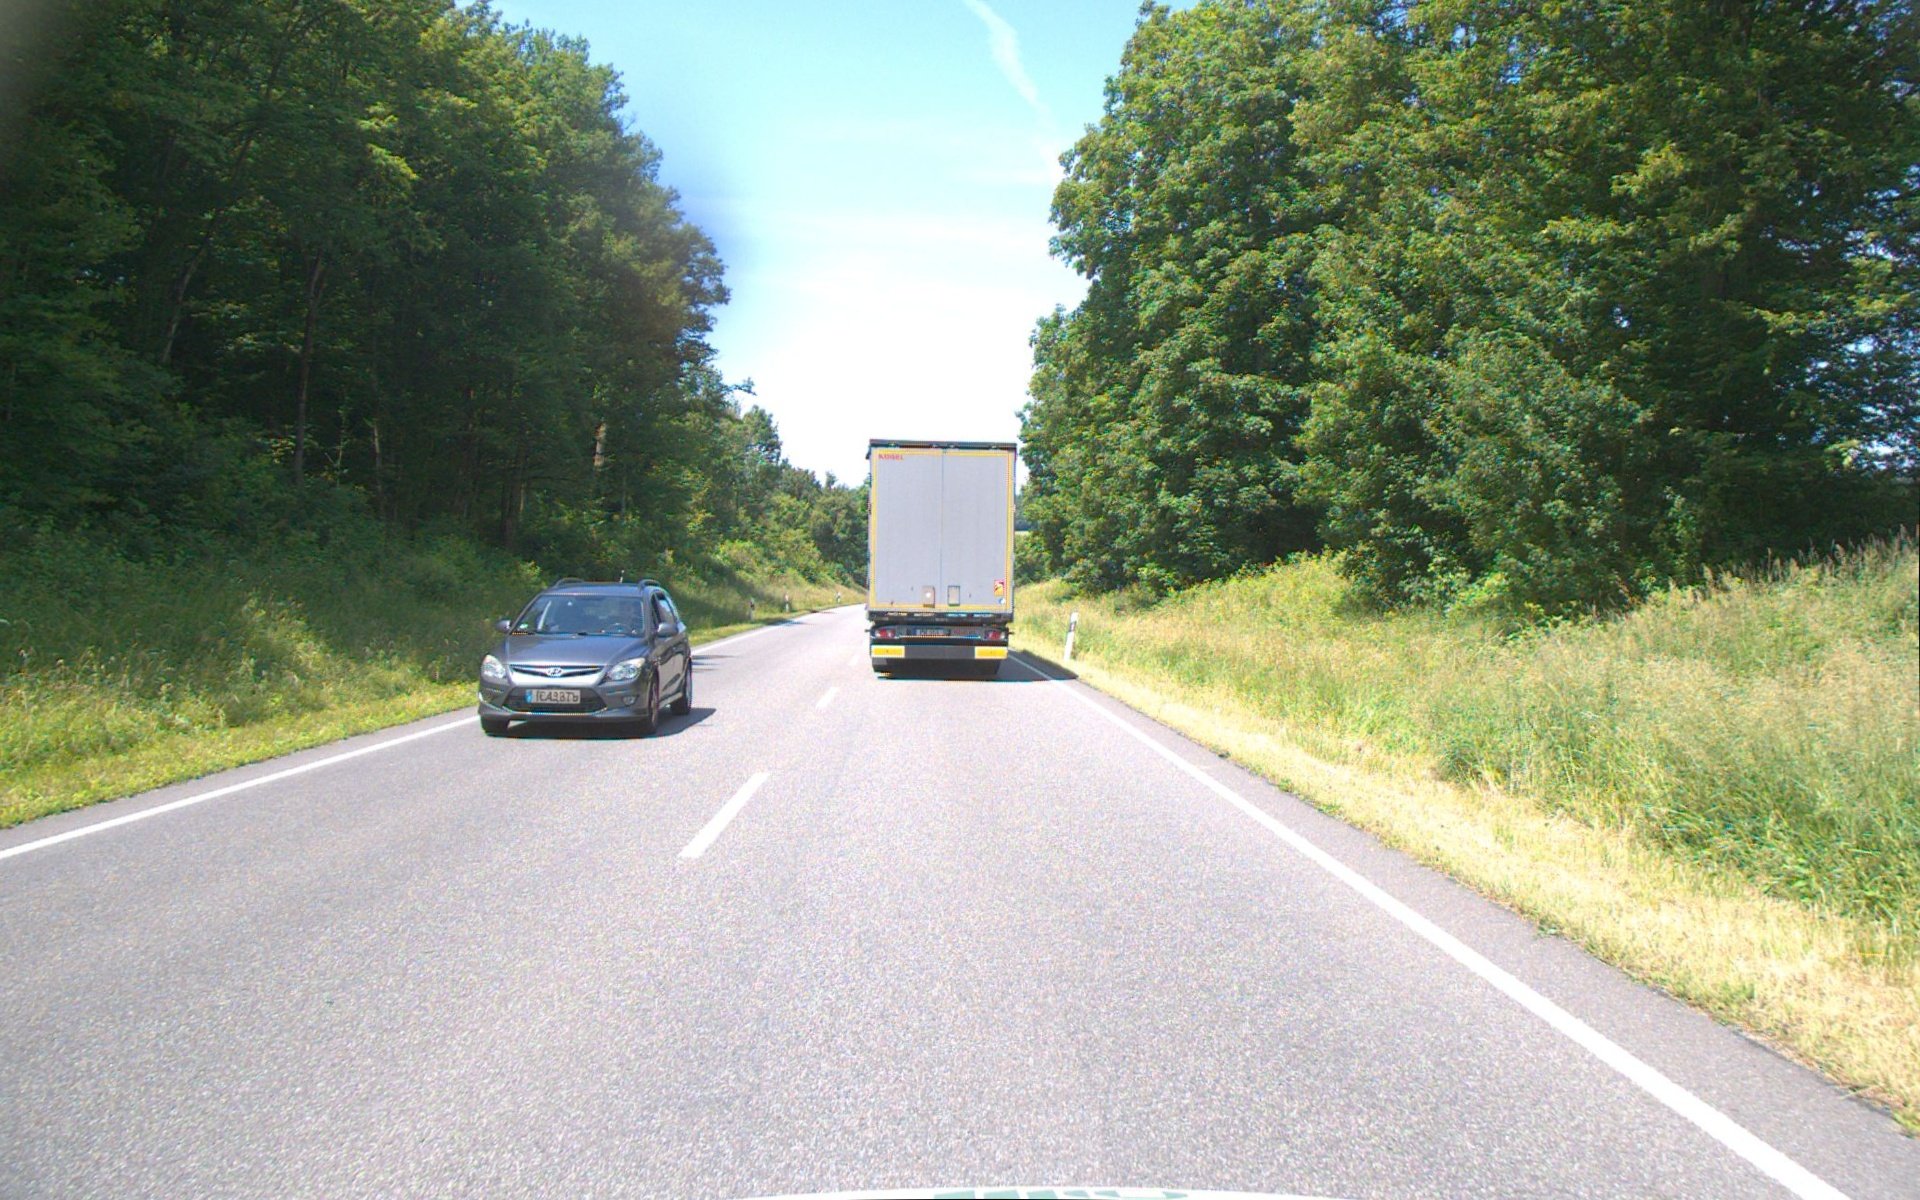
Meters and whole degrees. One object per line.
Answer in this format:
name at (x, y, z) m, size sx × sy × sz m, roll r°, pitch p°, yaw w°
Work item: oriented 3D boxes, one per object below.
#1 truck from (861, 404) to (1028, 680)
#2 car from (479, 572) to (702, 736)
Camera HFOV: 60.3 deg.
truck at (-0.444, -1.020, 33.762) m, size 2.760 × 4.611 × 11.763 m, roll 1°, pitch 0°, yaw -2°
car at (-3.964, 0.518, 18.385) m, size 1.736 × 1.597 × 4.215 m, roll 1°, pitch 0°, yaw -3°
